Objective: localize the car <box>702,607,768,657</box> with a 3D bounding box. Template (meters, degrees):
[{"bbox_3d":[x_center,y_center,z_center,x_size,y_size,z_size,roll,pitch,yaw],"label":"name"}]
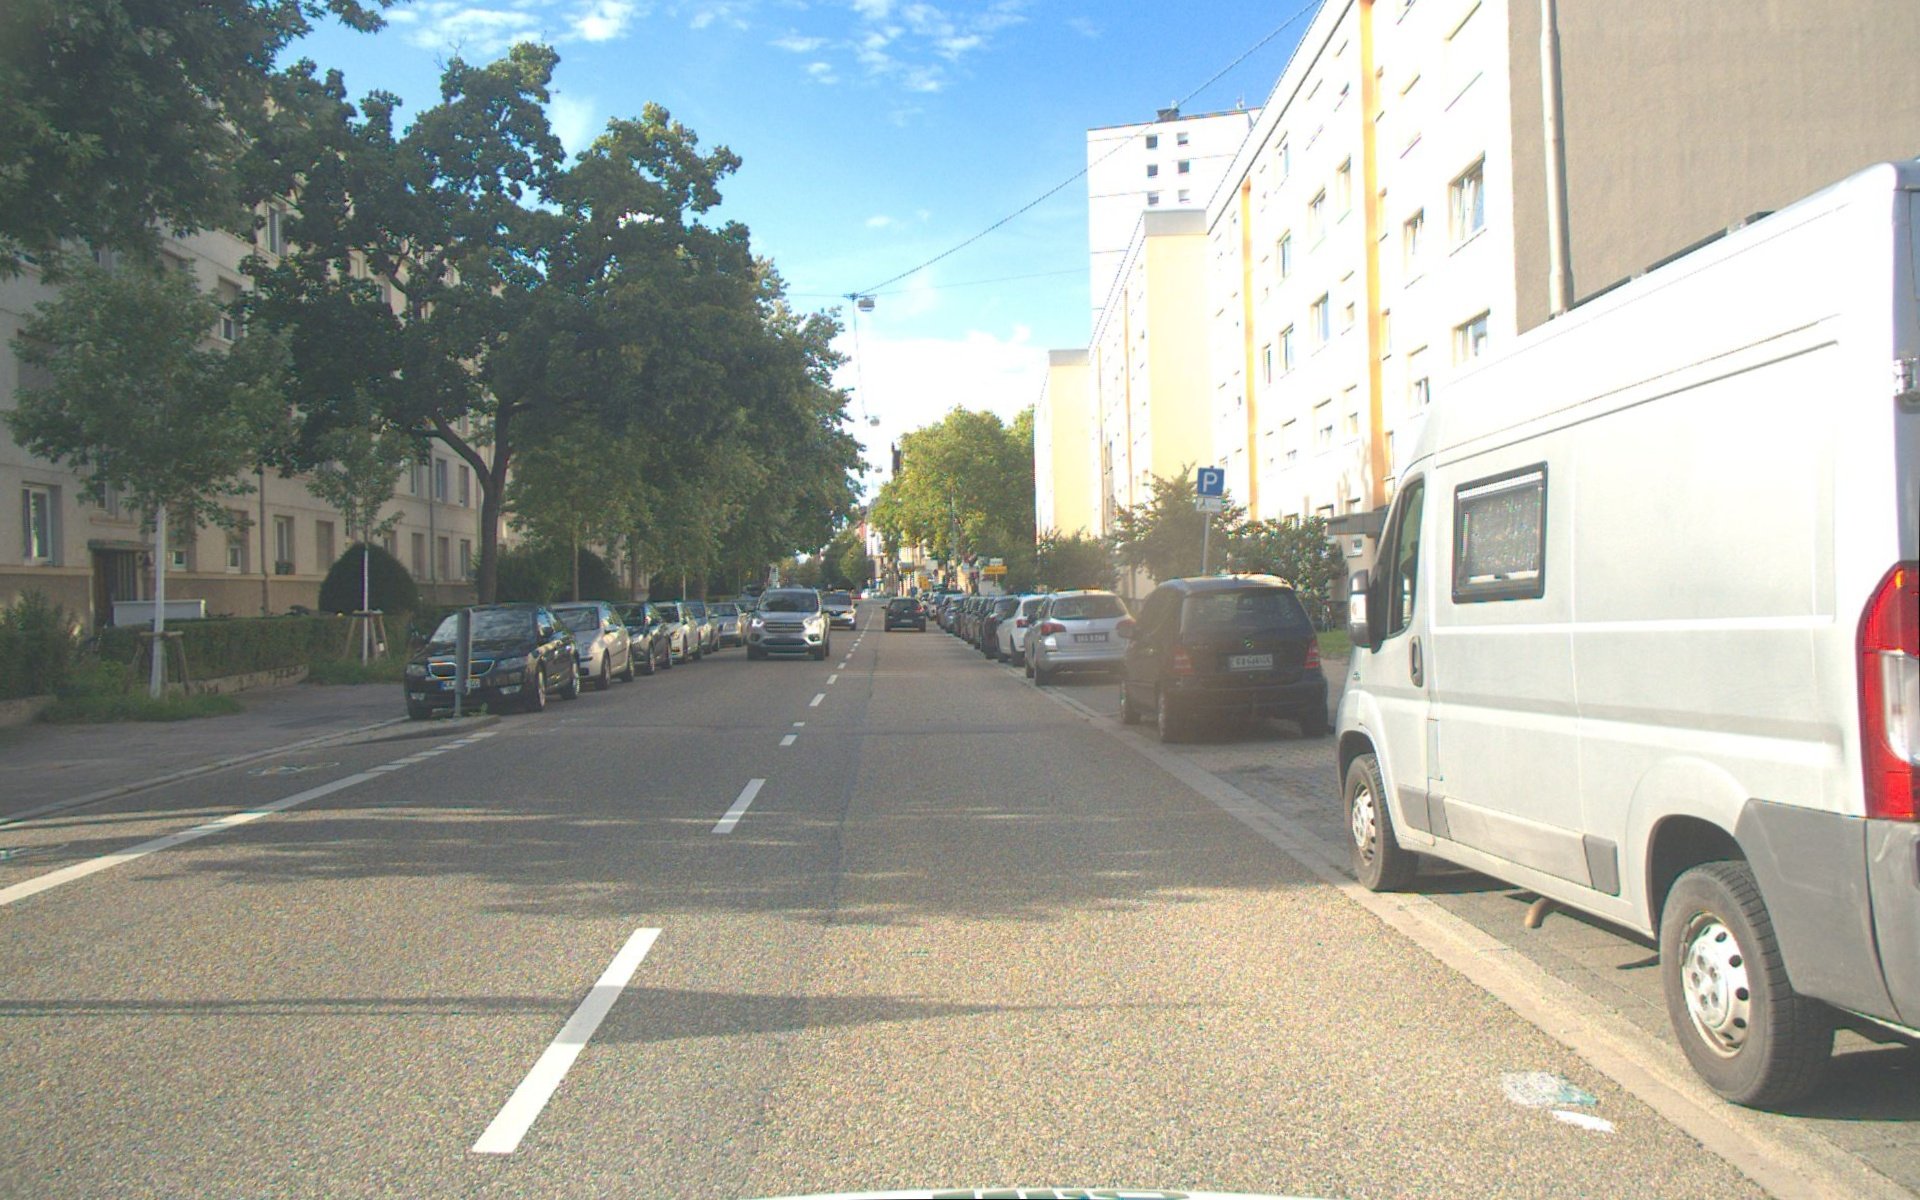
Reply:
[{"bbox_3d":[-7.950,1.097,58.823,1.819,1.511,4.941,-4,0,-3],"label":"car"}]

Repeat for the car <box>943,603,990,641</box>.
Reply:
[{"bbox_3d":[0.246,0.892,67.861,1.629,1.440,4.056,-3,0,-3],"label":"car"}]

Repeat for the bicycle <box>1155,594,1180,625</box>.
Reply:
[{"bbox_3d":[7.400,0.345,59.083,0.491,1.048,2.094,-4,0,-3],"label":"bicycle"}]

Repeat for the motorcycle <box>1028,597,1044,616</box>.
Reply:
[{"bbox_3d":[4.413,0.374,95.945,0.618,1.063,2.392,-2,0,-3],"label":"motorcycle"}]

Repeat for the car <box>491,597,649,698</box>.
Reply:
[{"bbox_3d":[-6.653,0.753,28.665,1.784,1.512,4.367,-3,0,-2],"label":"car"}]

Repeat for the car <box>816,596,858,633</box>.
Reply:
[{"bbox_3d":[-5.324,0.608,71.960,1.705,1.528,4.007,-2,0,-3],"label":"car"}]

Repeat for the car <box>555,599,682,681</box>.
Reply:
[{"bbox_3d":[-6.948,0.761,34.081,1.818,1.512,4.681,-2,0,-3],"label":"car"}]

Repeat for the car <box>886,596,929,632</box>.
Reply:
[{"bbox_3d":[-2.264,0.574,70.783,1.717,1.438,3.997,-1,0,-4],"label":"car"}]

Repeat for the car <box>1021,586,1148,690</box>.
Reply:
[{"bbox_3d":[2.025,0.584,28.033,1.727,1.550,4.329,-2,0,-1],"label":"car"}]

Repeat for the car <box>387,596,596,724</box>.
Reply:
[{"bbox_3d":[-6.459,0.768,23.310,1.889,1.512,4.416,-3,0,-4],"label":"car"}]

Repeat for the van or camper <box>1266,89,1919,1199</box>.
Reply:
[{"bbox_3d":[3.060,0.069,6.722,2.117,2.570,5.910,-4,0,-3],"label":"van or camper"}]

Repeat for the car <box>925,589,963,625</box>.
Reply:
[{"bbox_3d":[-0.835,0.345,83.801,1.694,1.678,4.114,-2,0,-3],"label":"car"}]

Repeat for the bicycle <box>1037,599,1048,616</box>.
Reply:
[{"bbox_3d":[5.780,0.496,115.339,0.518,1.134,2.208,-2,0,-2],"label":"bicycle"}]

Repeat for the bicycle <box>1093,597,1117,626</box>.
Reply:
[{"bbox_3d":[6.825,0.530,77.934,0.712,1.313,2.634,-2,0,-2],"label":"bicycle"}]

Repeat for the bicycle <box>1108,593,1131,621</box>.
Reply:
[{"bbox_3d":[7.515,0.333,78.033,0.712,1.313,2.634,0,0,-2],"label":"bicycle"}]

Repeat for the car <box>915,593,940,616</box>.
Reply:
[{"bbox_3d":[-2.245,0.311,114.670,1.655,1.555,4.237,-1,0,0],"label":"car"}]

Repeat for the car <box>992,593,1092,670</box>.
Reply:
[{"bbox_3d":[1.718,0.643,35.867,1.650,1.493,4.203,-2,0,-4],"label":"car"}]

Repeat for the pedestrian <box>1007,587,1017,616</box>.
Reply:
[{"bbox_3d":[3.203,0.060,101.390,0.530,1.751,0.771,-2,0,3],"label":"pedestrian"}]

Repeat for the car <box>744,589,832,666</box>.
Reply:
[{"bbox_3d":[-4.063,0.641,39.671,1.793,1.698,4.082,-2,0,-2],"label":"car"}]

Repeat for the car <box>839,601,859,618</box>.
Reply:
[{"bbox_3d":[-10.778,0.897,160.590,1.821,1.555,4.009,-1,0,-2],"label":"car"}]

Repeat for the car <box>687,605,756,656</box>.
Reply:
[{"bbox_3d":[-7.657,0.956,53.423,1.704,1.417,4.662,-4,0,-3],"label":"car"}]

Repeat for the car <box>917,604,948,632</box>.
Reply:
[{"bbox_3d":[-1.600,0.993,94.238,1.693,1.514,4.640,-1,0,-1],"label":"car"}]

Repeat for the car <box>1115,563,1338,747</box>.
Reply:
[{"bbox_3d":[2.698,0.513,17.573,1.639,1.630,3.970,-4,0,0],"label":"car"}]

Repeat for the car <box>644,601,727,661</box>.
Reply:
[{"bbox_3d":[-7.681,0.821,46.596,1.819,1.512,4.680,-2,0,-4],"label":"car"}]

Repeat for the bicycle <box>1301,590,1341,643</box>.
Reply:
[{"bbox_3d":[8.890,0.417,40.804,0.511,1.237,1.590,-3,-2,-3],"label":"bicycle"}]

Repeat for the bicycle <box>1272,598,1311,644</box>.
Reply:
[{"bbox_3d":[8.184,0.535,40.859,0.511,1.093,1.590,-3,-2,-3],"label":"bicycle"}]

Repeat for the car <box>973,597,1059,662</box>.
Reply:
[{"bbox_3d":[1.327,0.686,40.775,1.650,1.460,4.203,-2,0,-4],"label":"car"}]

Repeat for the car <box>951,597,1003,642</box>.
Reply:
[{"bbox_3d":[0.614,0.716,61.633,1.629,1.517,3.939,-3,0,-3],"label":"car"}]

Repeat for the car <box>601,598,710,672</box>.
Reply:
[{"bbox_3d":[-7.183,0.785,39.460,1.819,1.511,4.796,-5,0,-3],"label":"car"}]

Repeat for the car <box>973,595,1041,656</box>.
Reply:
[{"bbox_3d":[1.243,0.667,45.277,1.649,1.527,3.873,-2,0,-1],"label":"car"}]

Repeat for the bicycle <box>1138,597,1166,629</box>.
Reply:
[{"bbox_3d":[6.830,0.459,58.948,0.582,1.048,2.118,-4,0,-3],"label":"bicycle"}]

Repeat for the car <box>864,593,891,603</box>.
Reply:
[{"bbox_3d":[-12.676,-0.325,255.186,3.914,1.445,1.995,-2,0,-10],"label":"car"}]
